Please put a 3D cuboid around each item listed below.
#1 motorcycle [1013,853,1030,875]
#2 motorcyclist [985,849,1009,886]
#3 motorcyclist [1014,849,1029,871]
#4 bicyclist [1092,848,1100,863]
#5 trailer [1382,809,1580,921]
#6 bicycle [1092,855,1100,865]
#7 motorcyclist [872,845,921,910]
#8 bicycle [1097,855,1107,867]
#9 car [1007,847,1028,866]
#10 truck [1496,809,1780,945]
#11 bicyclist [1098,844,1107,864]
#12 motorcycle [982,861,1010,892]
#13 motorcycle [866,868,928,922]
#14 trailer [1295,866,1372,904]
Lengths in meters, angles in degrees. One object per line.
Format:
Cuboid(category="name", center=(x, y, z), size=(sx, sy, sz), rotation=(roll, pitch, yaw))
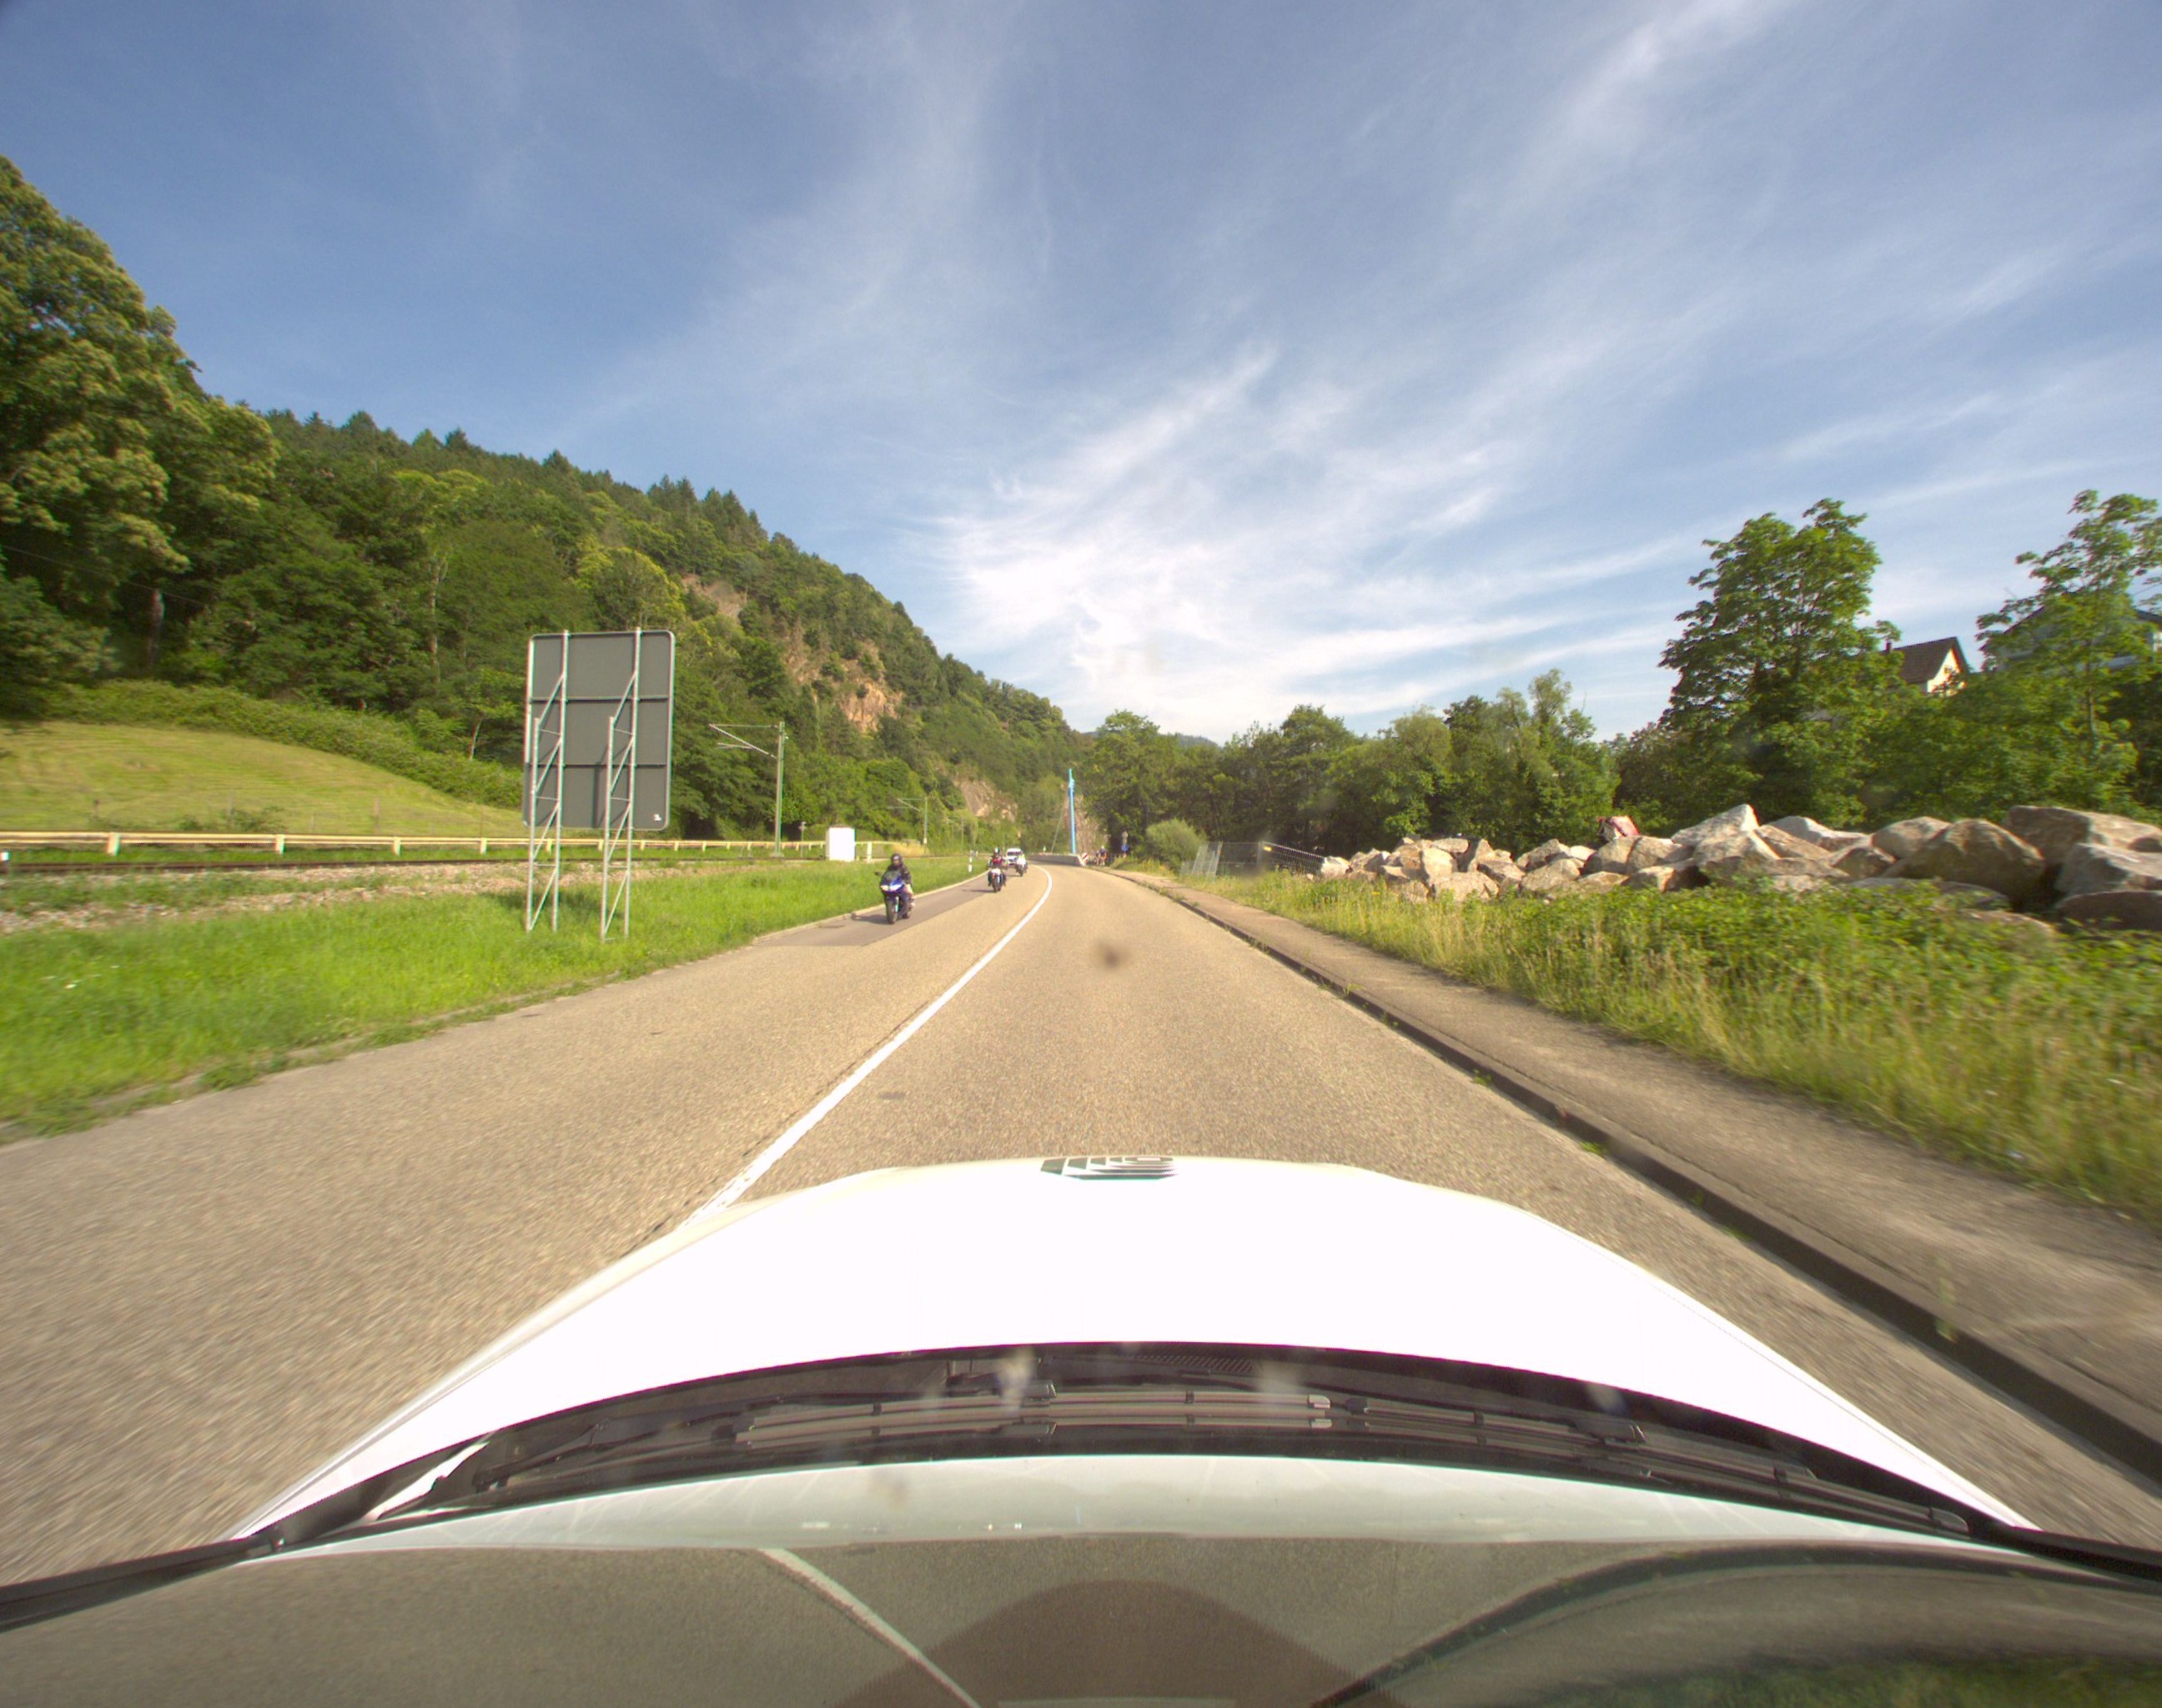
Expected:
Cuboid(category="motorcycle", center=(-3.803, 0.611, 52.508), size=(0.858, 1.383, 2.404), rotation=(0, 1, 2))
Cuboid(category="motorcyclist", center=(-3.316, 0.507, 32.045), size=(0.841, 1.423, 0.964), rotation=(0, 1, 0))
Cuboid(category="motorcyclist", center=(-3.805, 0.391, 52.398), size=(0.855, 1.423, 0.964), rotation=(0, 1, 1))
Cuboid(category="bicyclist", center=(1.509, 0.152, 80.907), size=(0.591, 1.401, 0.760), rotation=(3, 0, -5))
Cuboid(category="trailer", center=(17.463, 0.488, 36.741), size=(3.359, 4.274, 9.891), rotation=(2, -1, -5))
Cuboid(category="bicycle", center=(1.491, 0.565, 80.866), size=(0.599, 0.916, 1.845), rotation=(3, 0, -4))
Cuboid(category="motorcyclist", center=(-4.181, 0.514, 18.532), size=(0.840, 1.423, 0.965), rotation=(0, 1, 4))
Cuboid(category="bicycle", center=(1.790, 0.592, 68.817), size=(0.647, 0.942, 1.845), rotation=(3, 0, -4))
Cuboid(category="car", center=(-6.072, 0.219, 77.492), size=(1.867, 1.781, 4.591), rotation=(1, 1, -5))
Cuboid(category="truck", center=(18.102, 0.662, 27.520), size=(3.098, 3.782, 8.629), rotation=(2, 0, -5))
Cuboid(category="bicyclist", center=(1.820, 0.000, 68.884), size=(0.640, 1.654, 0.807), rotation=(3, 0, -4))
Cuboid(category="motorcycle", center=(-3.323, 0.862, 32.119), size=(0.859, 1.130, 2.126), rotation=(0, 1, 1))
Cuboid(category="motorcycle", center=(-4.168, 0.906, 18.638), size=(0.858, 1.130, 1.970), rotation=(0, 1, 4))
Cuboid(category="trailer", center=(13.172, 1.590, 42.880), size=(2.052, 1.823, 4.779), rotation=(2, -1, -7))
